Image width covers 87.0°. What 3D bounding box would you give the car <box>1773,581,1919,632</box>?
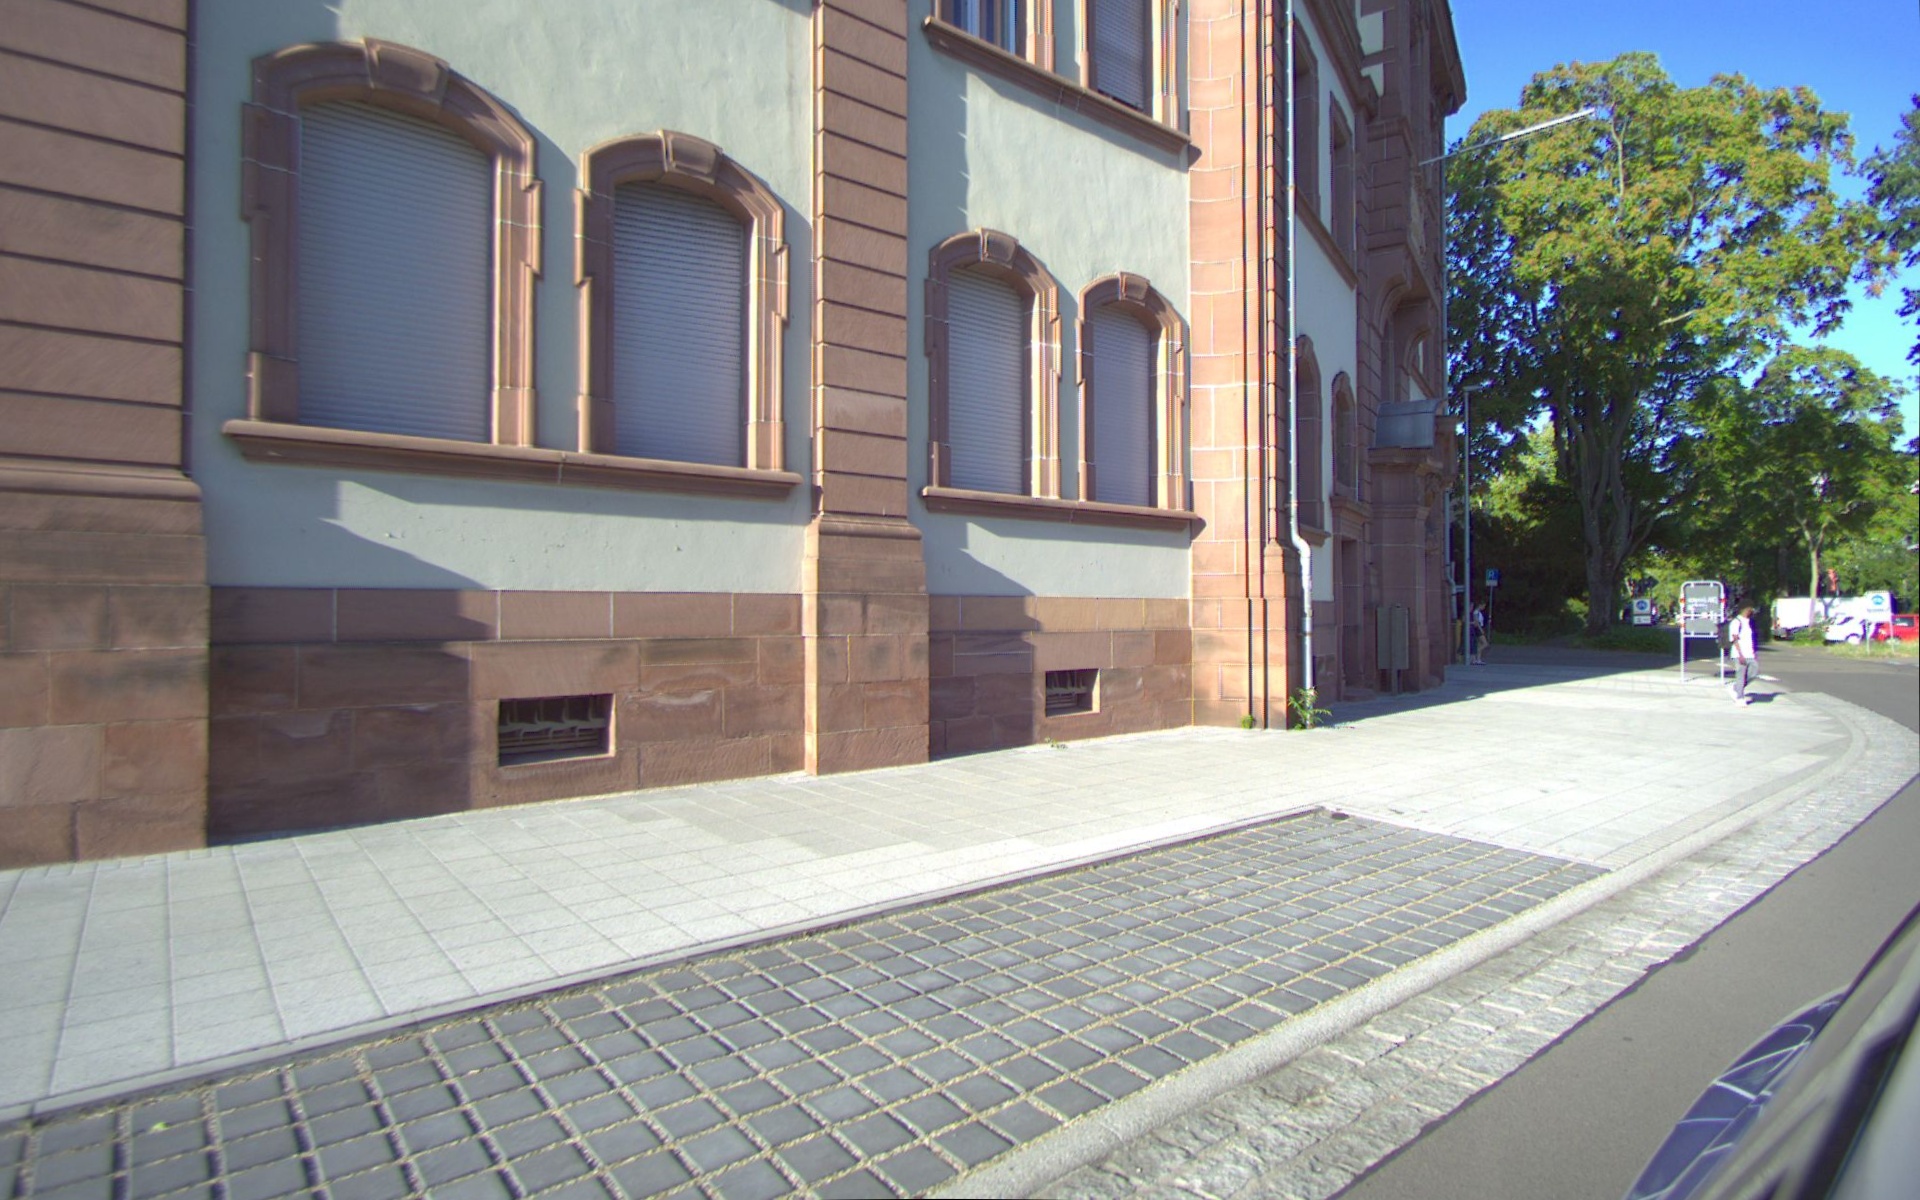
[{"bbox_3d":[49.750,0.364,56.995,5.863,2.735,2.195,-1,-1,32],"label":"car"}]

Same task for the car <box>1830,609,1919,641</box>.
[{"bbox_3d":[43.225,1.141,47.000,4.027,1.438,1.699,-1,-1,32],"label":"car"}]

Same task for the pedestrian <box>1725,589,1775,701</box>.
[{"bbox_3d":[12.772,0.695,16.377,0.530,1.740,0.991,1,0,33],"label":"pedestrian"}]

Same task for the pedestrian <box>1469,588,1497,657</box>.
[{"bbox_3d":[14.419,0.624,27.904,0.609,1.864,0.717,-1,-3,35],"label":"pedestrian"}]

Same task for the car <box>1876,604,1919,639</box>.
[{"bbox_3d":[40.587,0.876,41.898,3.650,1.438,1.699,-1,-1,32],"label":"car"}]

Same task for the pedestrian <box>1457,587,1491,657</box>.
[{"bbox_3d":[13.932,0.598,27.436,0.712,1.864,0.780,-1,-3,35],"label":"pedestrian"}]
